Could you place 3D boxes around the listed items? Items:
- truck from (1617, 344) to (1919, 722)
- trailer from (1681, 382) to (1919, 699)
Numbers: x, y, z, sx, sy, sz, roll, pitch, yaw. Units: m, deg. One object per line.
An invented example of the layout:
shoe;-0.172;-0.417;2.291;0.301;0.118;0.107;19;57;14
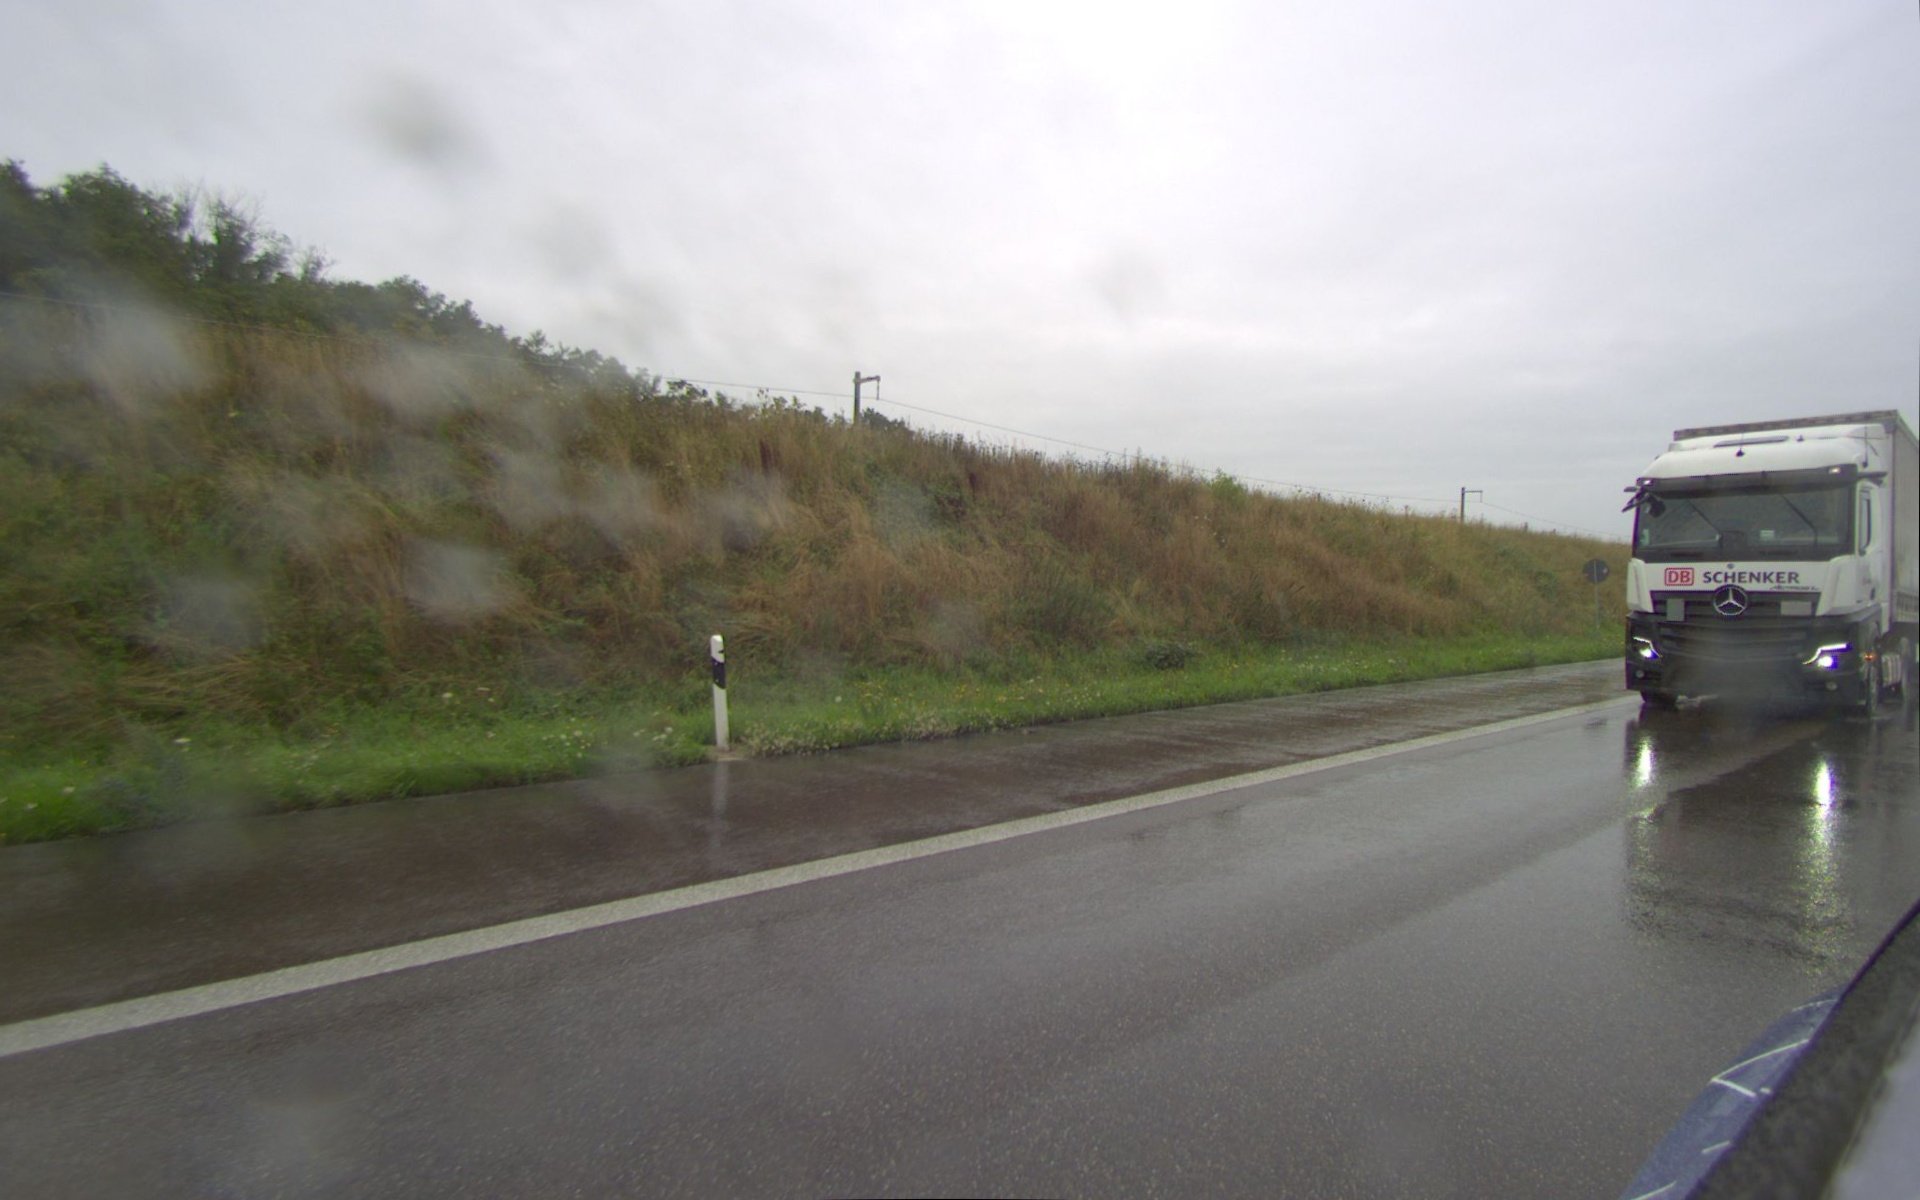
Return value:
truck;11.476;-0.793;14.159;4.957;4.307;2.630;-1;0;-42
trailer;17.320;-0.886;19.378;13.931;4.302;2.631;-1;0;-41
